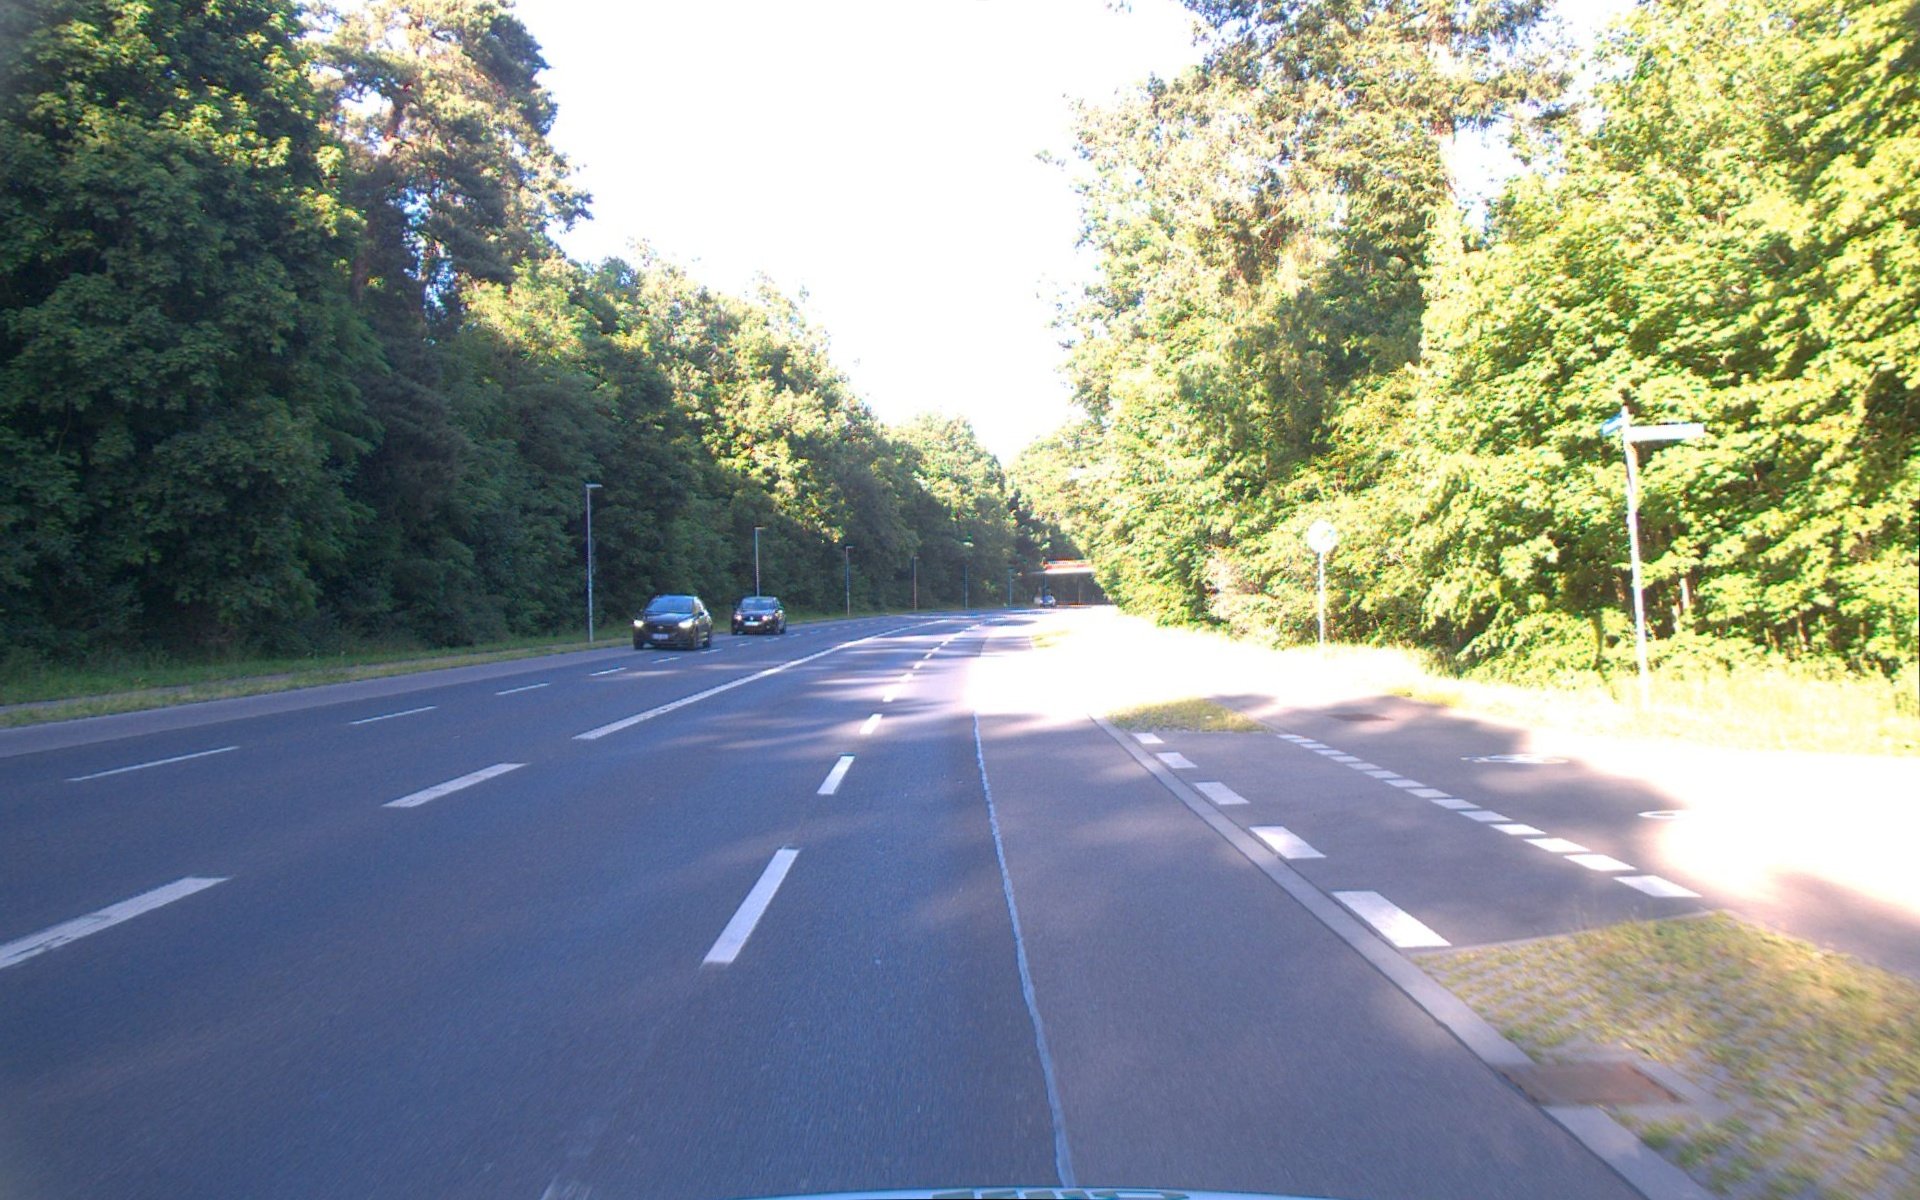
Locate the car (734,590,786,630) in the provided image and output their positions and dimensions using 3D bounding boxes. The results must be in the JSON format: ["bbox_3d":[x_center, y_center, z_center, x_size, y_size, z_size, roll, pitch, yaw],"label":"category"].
[{"bbox_3d":[-7.723,0.369,64.221,1.624,1.506,4.171,0,0,-2],"label":"car"}]

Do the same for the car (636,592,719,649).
[{"bbox_3d":[-7.897,0.544,46.499,1.703,1.483,3.998,2,0,-2],"label":"car"}]
